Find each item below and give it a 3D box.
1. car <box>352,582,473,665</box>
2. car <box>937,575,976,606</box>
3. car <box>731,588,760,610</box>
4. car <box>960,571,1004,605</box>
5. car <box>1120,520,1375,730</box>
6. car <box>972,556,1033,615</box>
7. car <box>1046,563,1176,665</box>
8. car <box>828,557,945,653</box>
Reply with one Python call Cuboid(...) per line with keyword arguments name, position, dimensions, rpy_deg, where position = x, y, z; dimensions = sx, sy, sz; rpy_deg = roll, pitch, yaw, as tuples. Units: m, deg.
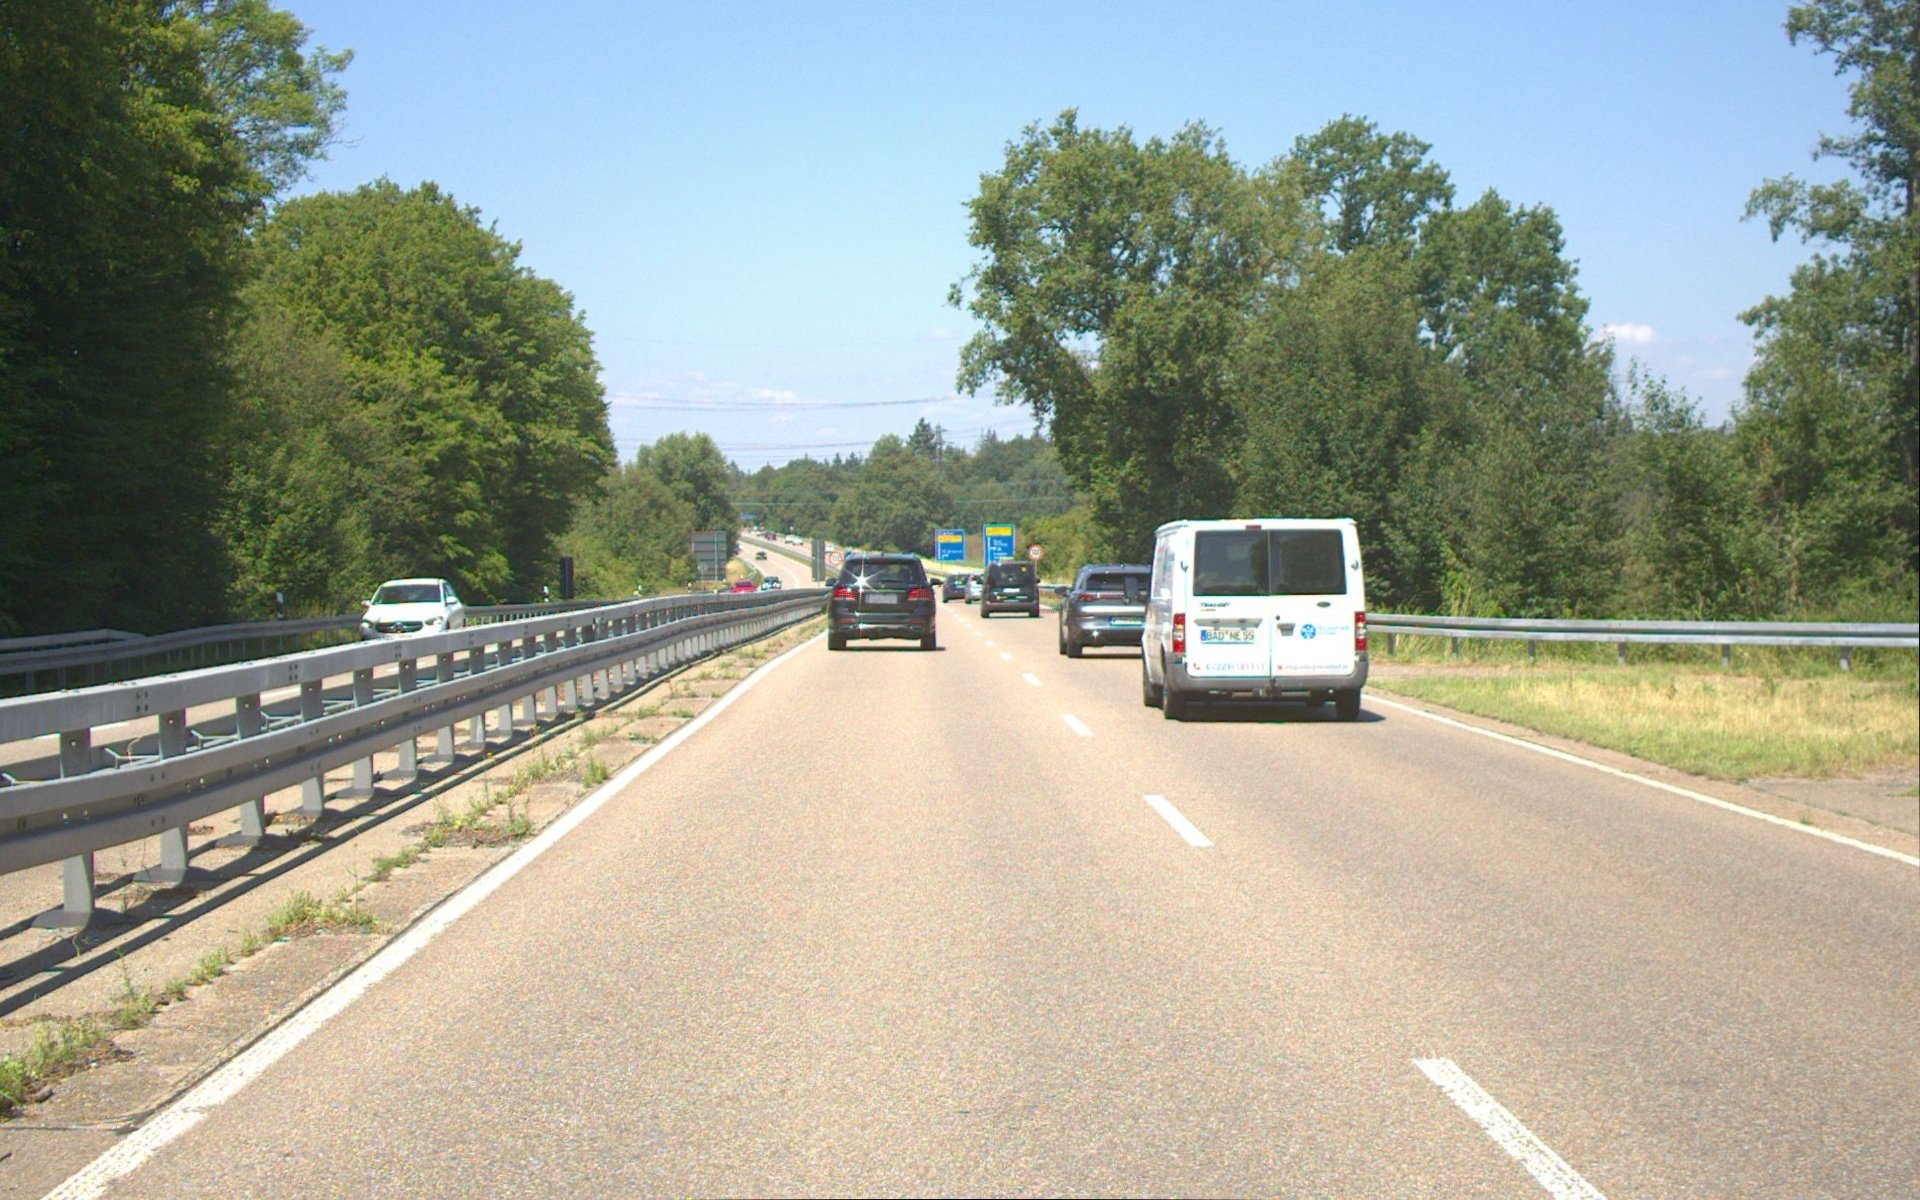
Cuboid(name="car", position=(-11.517, 0.473, 72.595), dimensions=(1.818, 1.593, 4.841), rpy_deg=(-3, 0, -1))
Cuboid(name="car", position=(-0.198, -0.486, 173.526), dimensions=(1.819, 1.409, 4.000), rpy_deg=(-2, 1, -2))
Cuboid(name="car", position=(-14.443, -0.059, 231.583), dimensions=(1.776, 1.414, 4.575), rpy_deg=(-2, 0, -1))
Cuboid(name="car", position=(0.988, -0.558, 157.981), dimensions=(1.779, 1.474, 4.316), rpy_deg=(-1, 1, -3))
Cuboid(name="car", position=(2.863, 0.244, 35.328), dimensions=(2.005, 1.982, 5.035), rpy_deg=(-1, 0, -2))
Cuboid(name="car", position=(1.342, -0.478, 110.286), dimensions=(1.779, 1.810, 4.213), rpy_deg=(-2, 1, -1))
Cuboid(name="car", position=(2.439, 0.199, 56.326), dimensions=(1.785, 1.548, 4.020), rpy_deg=(-1, 1, -2))
Cuboid(name="car", position=(-1.358, 0.058, 62.304), dimensions=(1.993, 1.649, 4.000), rpy_deg=(-1, 1, -3))
